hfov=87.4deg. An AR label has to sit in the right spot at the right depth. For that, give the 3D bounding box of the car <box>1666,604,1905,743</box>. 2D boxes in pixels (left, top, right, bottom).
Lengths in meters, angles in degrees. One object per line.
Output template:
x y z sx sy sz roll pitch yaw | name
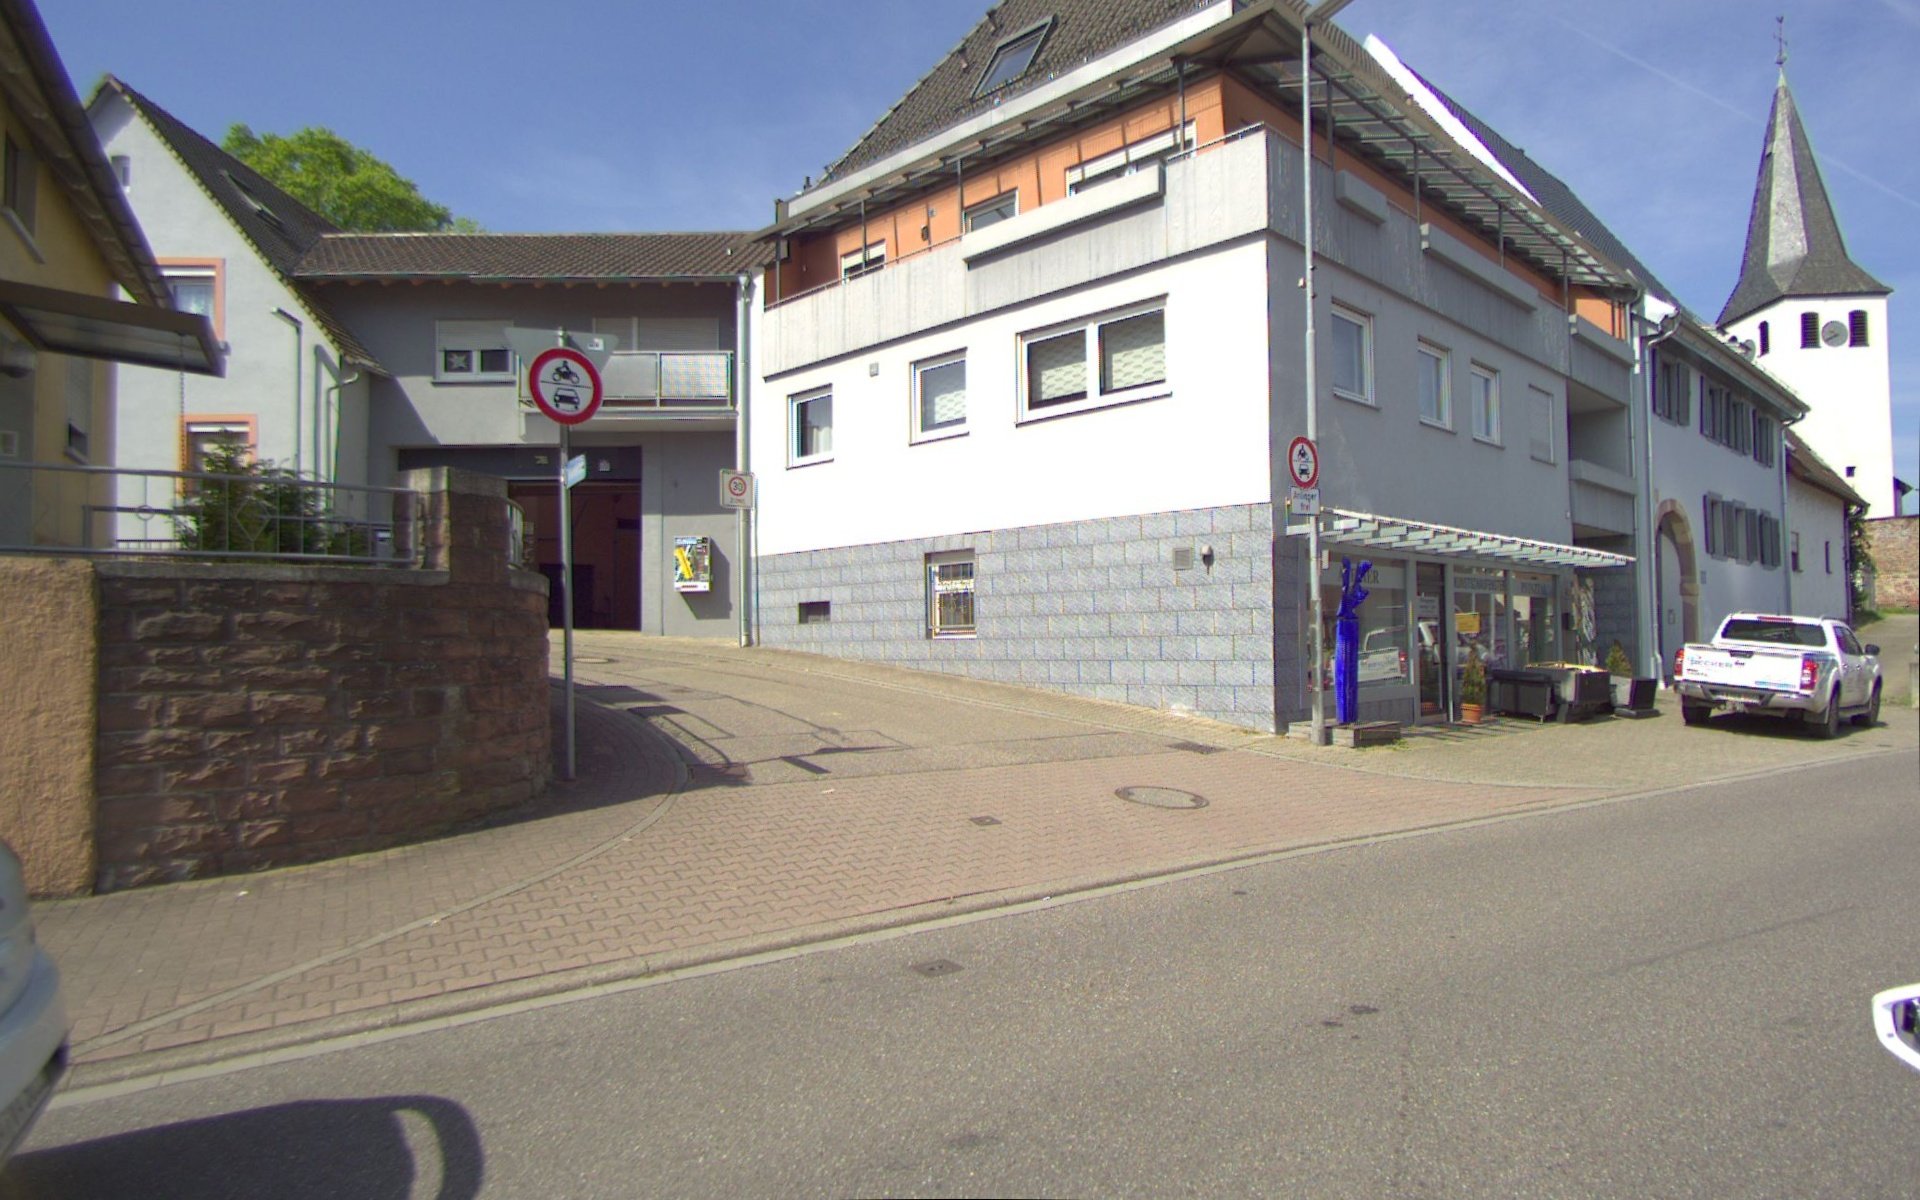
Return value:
13.464 1.076 16.263 5.238 1.822 1.791 1 3 -38 | car

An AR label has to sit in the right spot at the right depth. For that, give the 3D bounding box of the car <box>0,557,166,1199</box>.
-3.599 0.713 1.335 3.770 1.562 1.720 1 -3 -32 | car
